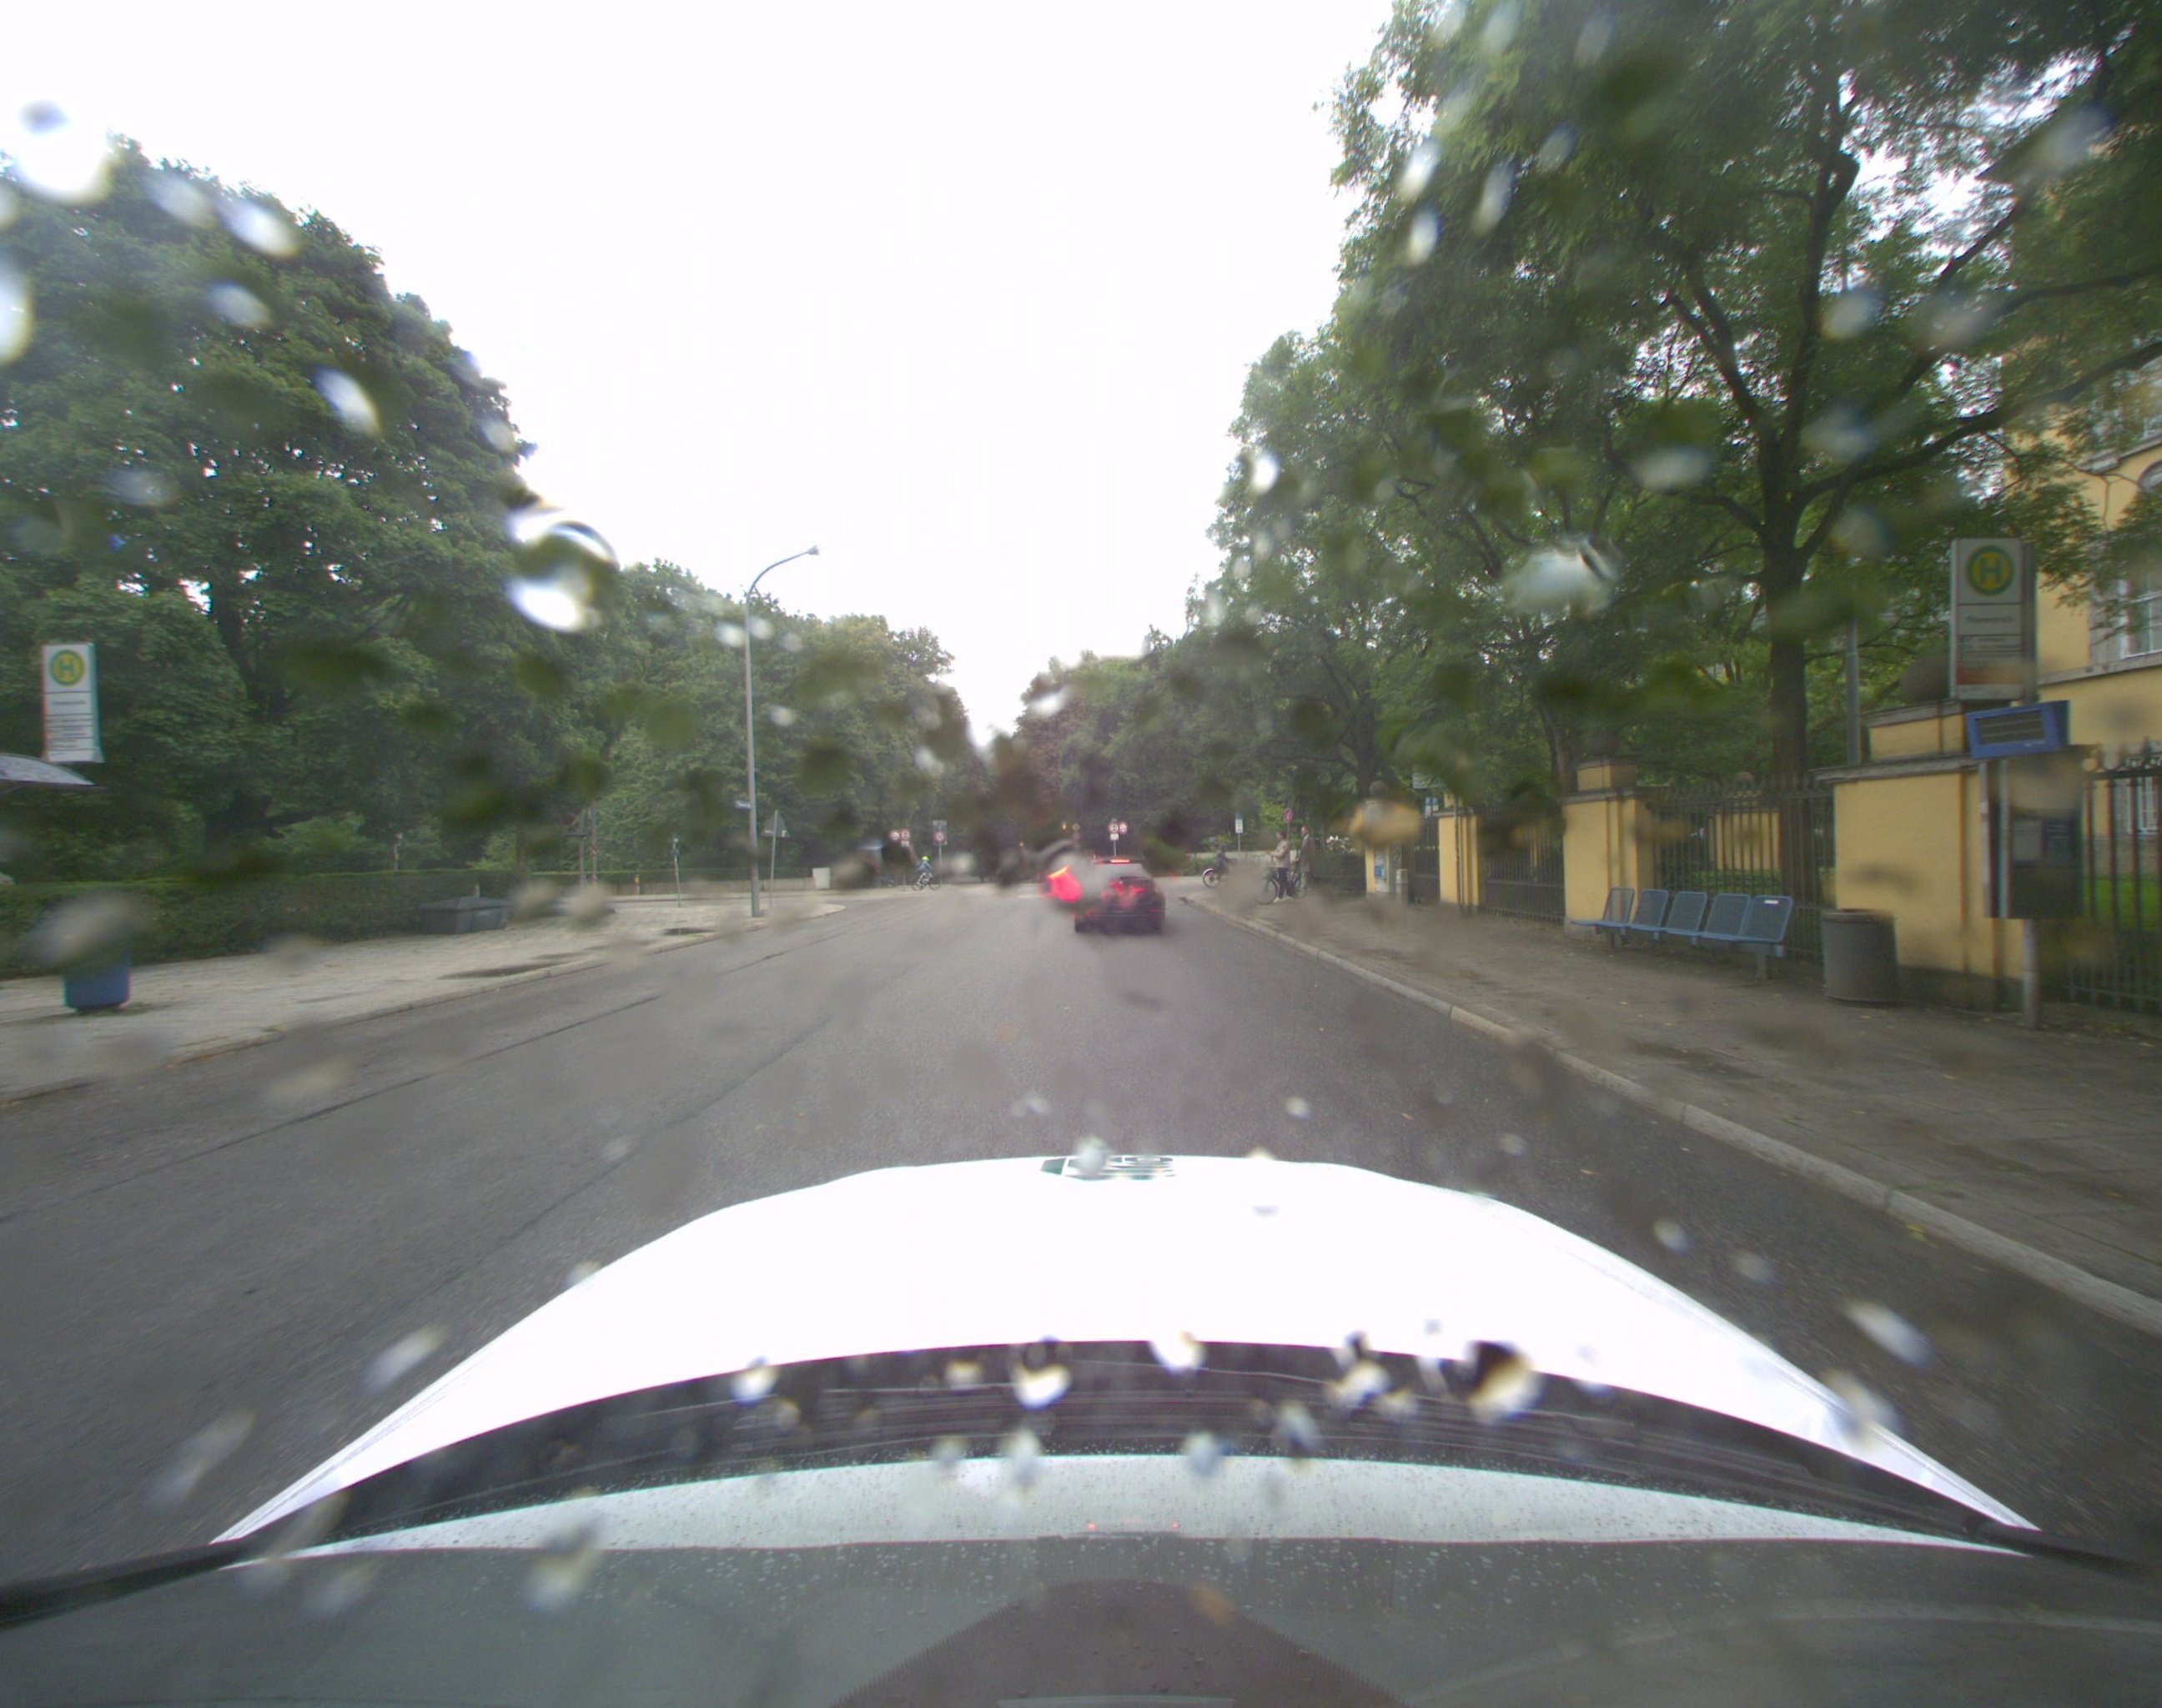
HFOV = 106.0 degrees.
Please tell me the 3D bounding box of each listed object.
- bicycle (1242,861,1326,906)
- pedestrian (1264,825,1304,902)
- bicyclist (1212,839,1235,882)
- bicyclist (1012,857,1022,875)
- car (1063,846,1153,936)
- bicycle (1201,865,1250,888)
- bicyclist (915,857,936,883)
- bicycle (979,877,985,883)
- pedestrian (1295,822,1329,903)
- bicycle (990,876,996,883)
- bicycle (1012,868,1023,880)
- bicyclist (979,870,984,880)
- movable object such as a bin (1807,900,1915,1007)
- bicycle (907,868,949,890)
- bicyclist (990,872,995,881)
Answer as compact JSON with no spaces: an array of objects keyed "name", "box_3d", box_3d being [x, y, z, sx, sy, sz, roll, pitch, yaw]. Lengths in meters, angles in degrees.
[{"name":"bicycle","box_3d":[5.064,0.731,20.346,1.904,0.949,0.581,-5,-1,-8]},{"name":"pedestrian","box_3d":[5.229,0.238,21.012,0.673,1.918,0.639,-4,-1,-8]},{"name":"bicyclist","box_3d":[5.379,0.254,30.742,0.747,1.585,0.656,-2,-1,2]},{"name":"bicyclist","box_3d":[-4.514,0.850,57.725,0.679,1.282,0.598,-2,0,-4]},{"name":"car","box_3d":[0.564,0.667,16.767,1.571,1.584,4.046,-2,0,2]},{"name":"bicycle","box_3d":[5.433,0.850,30.722,1.756,0.796,0.571,-1,-1,2]},{"name":"bicyclist","box_3d":[-7.490,0.766,39.256,0.518,1.257,0.859,-3,-1,34]},{"name":"bicycle","box_3d":[-14.002,3.632,114.873,0.679,0.830,2.102,-2,-1,-10]},{"name":"pedestrian","box_3d":[5.636,0.215,19.881,0.541,1.918,0.491,-4,-1,-8]},{"name":"bicycle","box_3d":[-11.181,3.187,103.071,0.679,0.830,2.104,-2,-1,-8]},{"name":"bicycle","box_3d":[-4.484,1.403,57.667,0.678,0.830,2.107,-2,0,-3]},{"name":"bicyclist","box_3d":[-14.044,2.964,115.012,0.681,1.504,0.898,-2,0,-10]},{"name":"movable object such as a bin","box_3d":[6.206,0.775,6.493,0.395,0.780,0.465,-2,0,2]},{"name":"bicycle","box_3d":[-7.361,1.180,39.331,0.673,0.991,2.123,-3,-1,34]},{"name":"bicyclist","box_3d":[-11.200,2.849,103.096,0.680,1.187,0.479,-2,0,-9]}]
